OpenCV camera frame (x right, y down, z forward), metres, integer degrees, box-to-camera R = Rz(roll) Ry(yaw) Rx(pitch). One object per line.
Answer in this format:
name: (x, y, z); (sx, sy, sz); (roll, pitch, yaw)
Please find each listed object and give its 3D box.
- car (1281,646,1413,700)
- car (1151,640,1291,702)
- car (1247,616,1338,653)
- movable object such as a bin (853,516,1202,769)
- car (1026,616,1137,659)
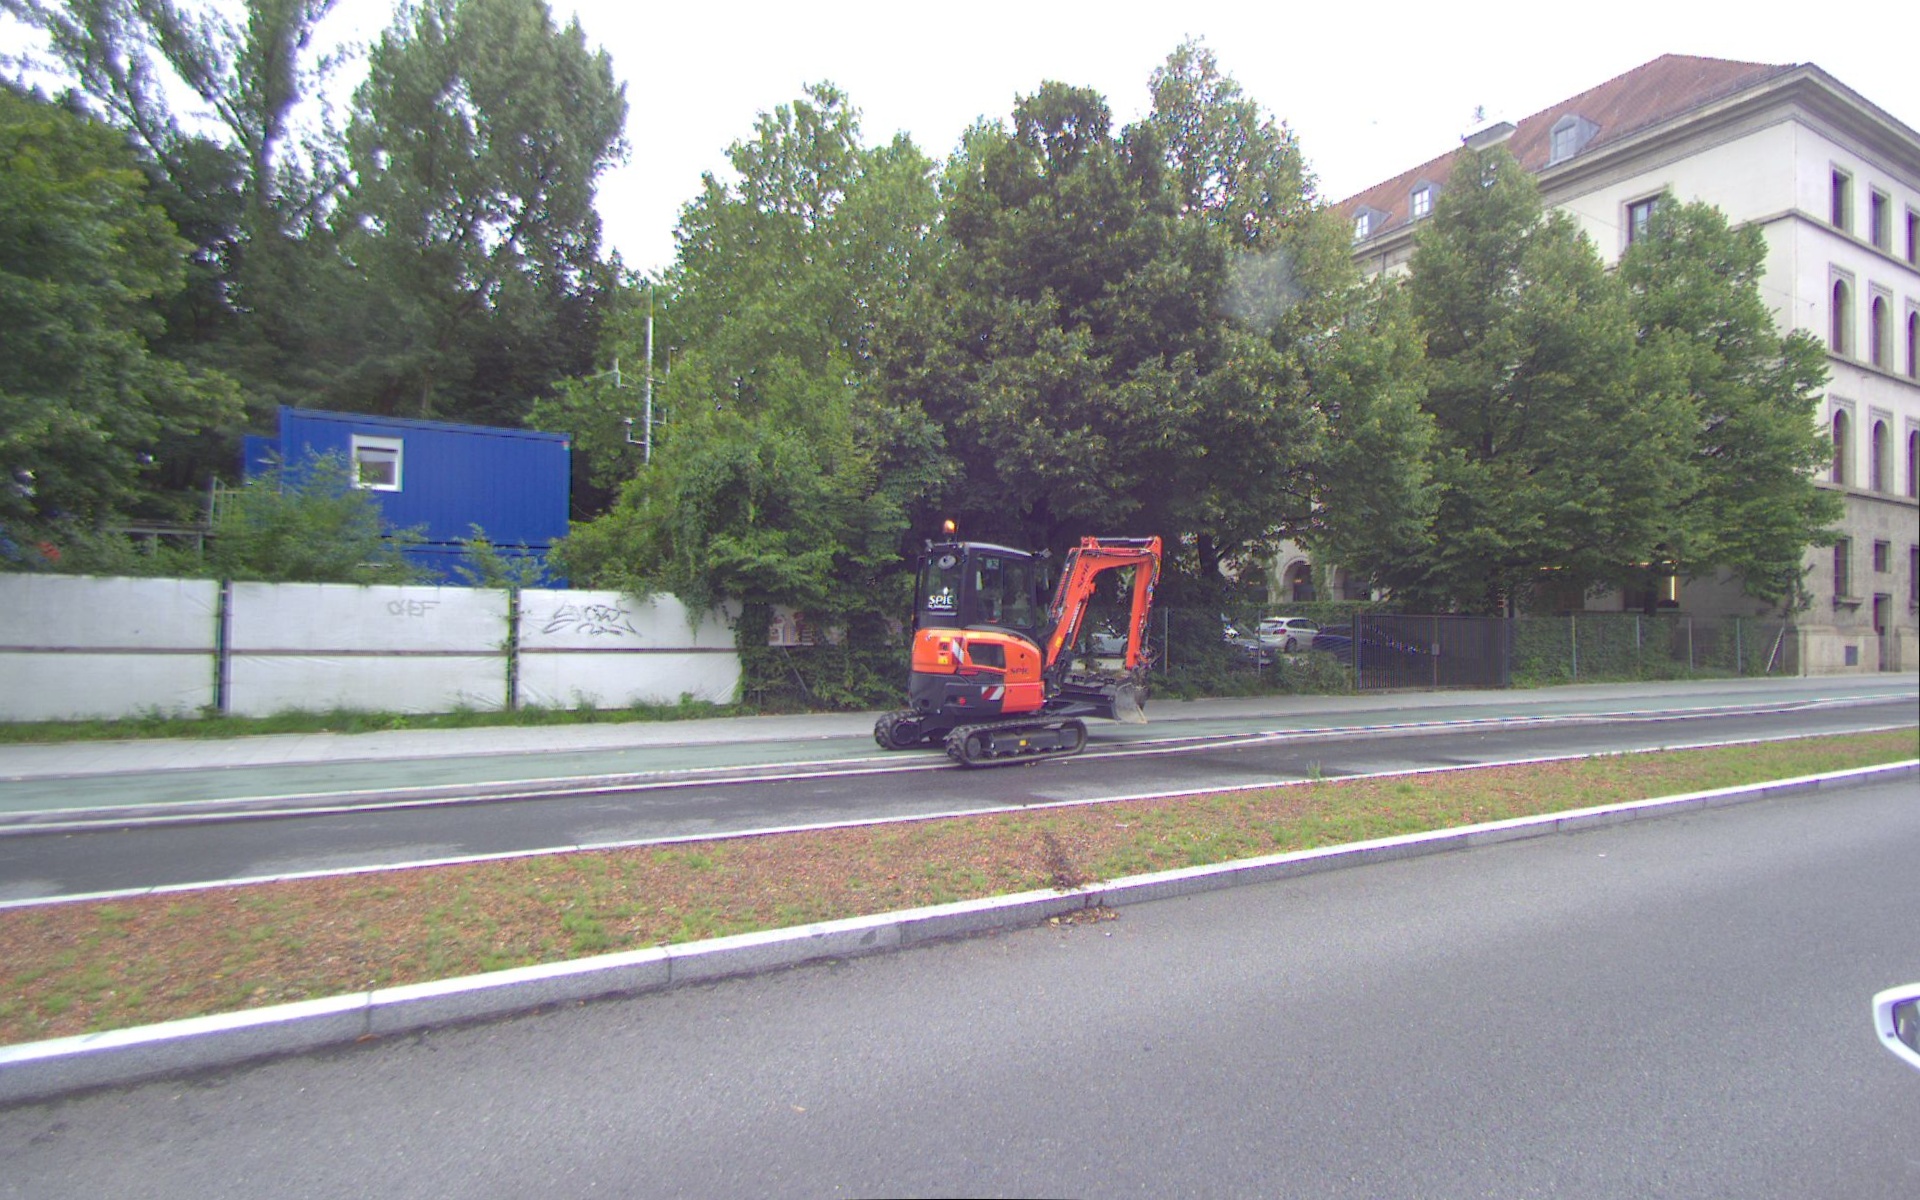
car: (13.058, 2.414, 34.072); (1.815, 1.566, 3.908); (1, 0, -31)
car: (7.644, 2.046, 29.765); (1.815, 1.566, 3.908); (1, 0, -31)
car: (15.013, 1.543, 45.325); (3.895, 1.566, 1.821); (1, 0, -31)
movable object such as a bin: (1.042, 0.515, 12.965); (1.973, 2.676, 4.636); (-1, -2, 45)
car: (4.796, 1.446, 39.500); (4.130, 1.566, 1.821); (1, 0, -31)
